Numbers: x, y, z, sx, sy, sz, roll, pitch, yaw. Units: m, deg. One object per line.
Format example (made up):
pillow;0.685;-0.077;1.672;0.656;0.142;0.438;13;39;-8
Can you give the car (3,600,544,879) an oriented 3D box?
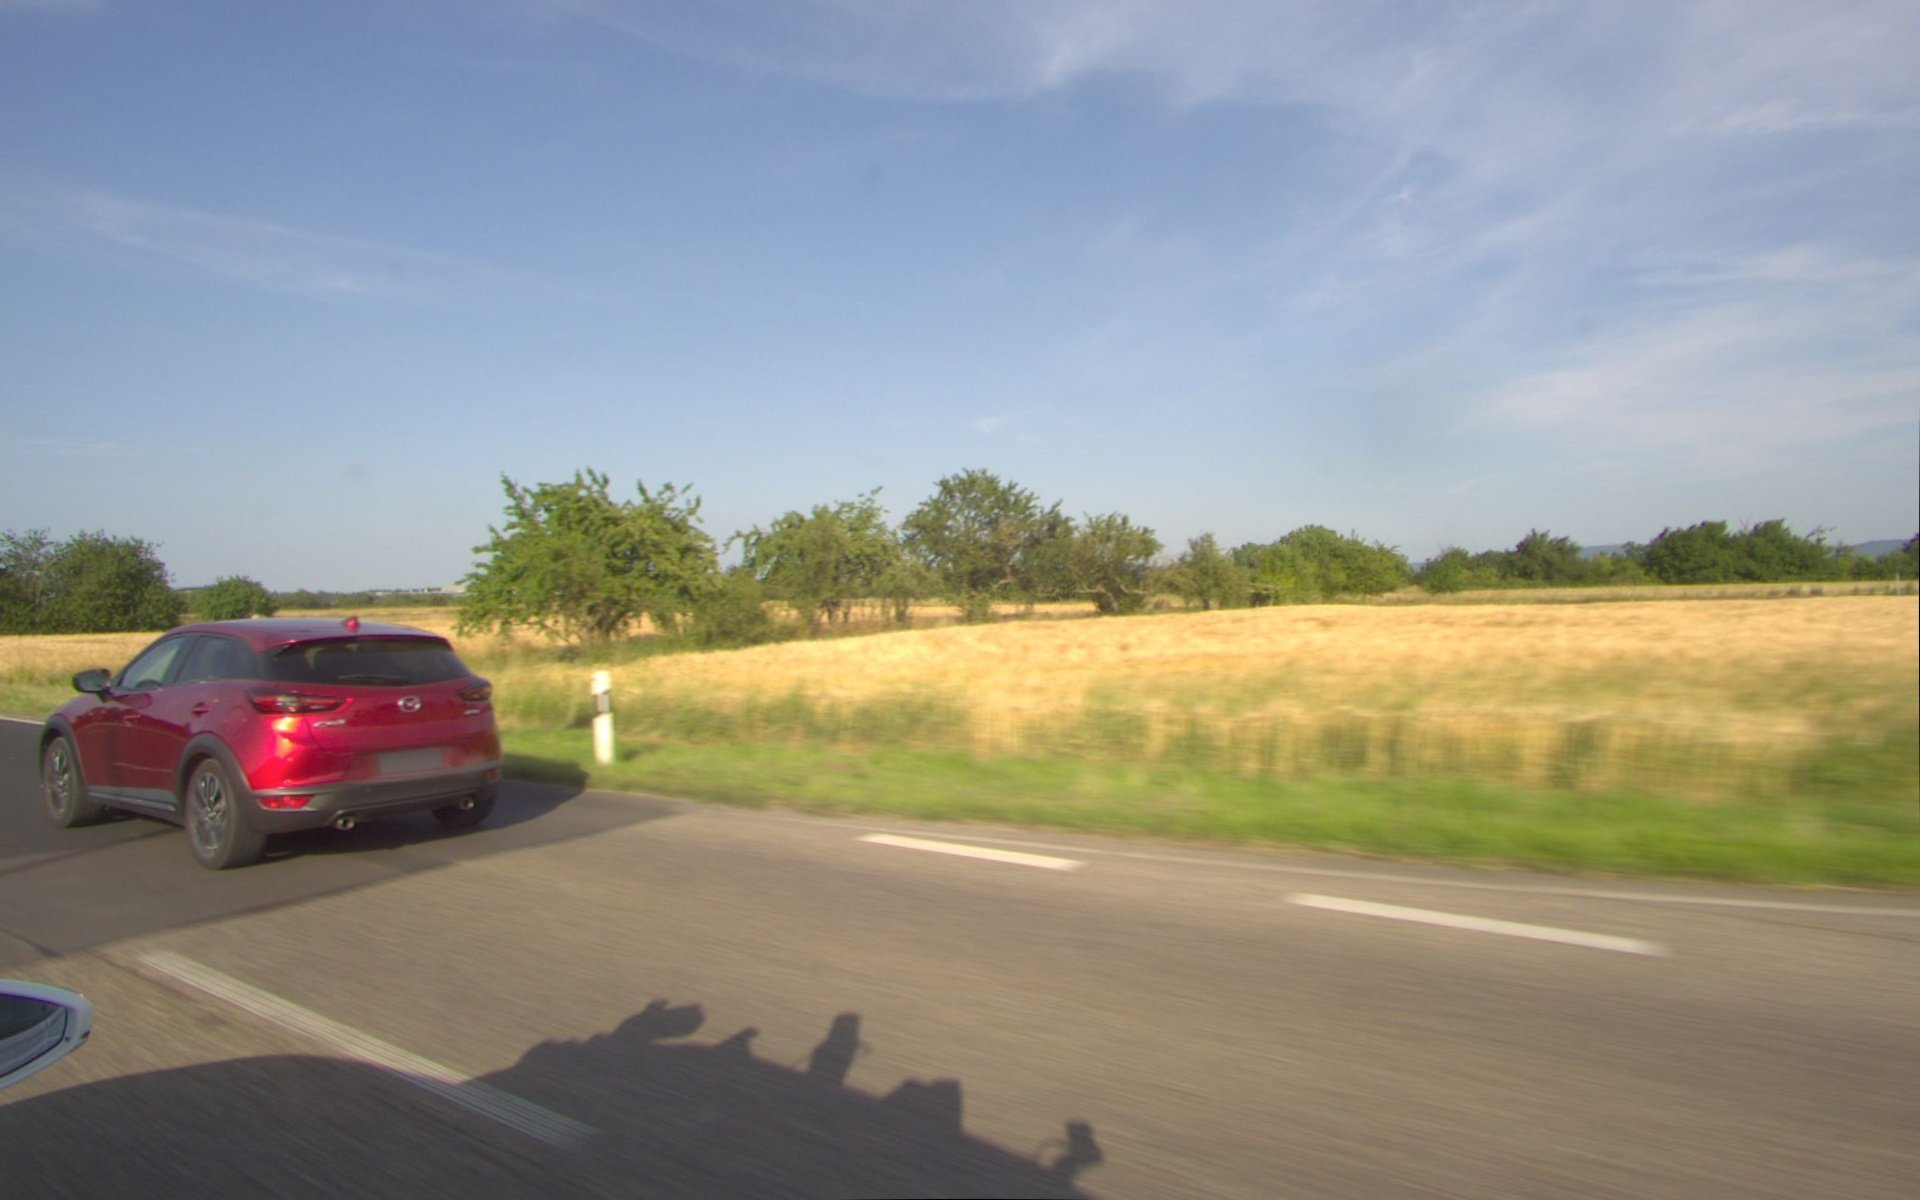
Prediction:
car;-5.202;0.836;7.405;4.437;1.525;1.701;-2;-2;32
